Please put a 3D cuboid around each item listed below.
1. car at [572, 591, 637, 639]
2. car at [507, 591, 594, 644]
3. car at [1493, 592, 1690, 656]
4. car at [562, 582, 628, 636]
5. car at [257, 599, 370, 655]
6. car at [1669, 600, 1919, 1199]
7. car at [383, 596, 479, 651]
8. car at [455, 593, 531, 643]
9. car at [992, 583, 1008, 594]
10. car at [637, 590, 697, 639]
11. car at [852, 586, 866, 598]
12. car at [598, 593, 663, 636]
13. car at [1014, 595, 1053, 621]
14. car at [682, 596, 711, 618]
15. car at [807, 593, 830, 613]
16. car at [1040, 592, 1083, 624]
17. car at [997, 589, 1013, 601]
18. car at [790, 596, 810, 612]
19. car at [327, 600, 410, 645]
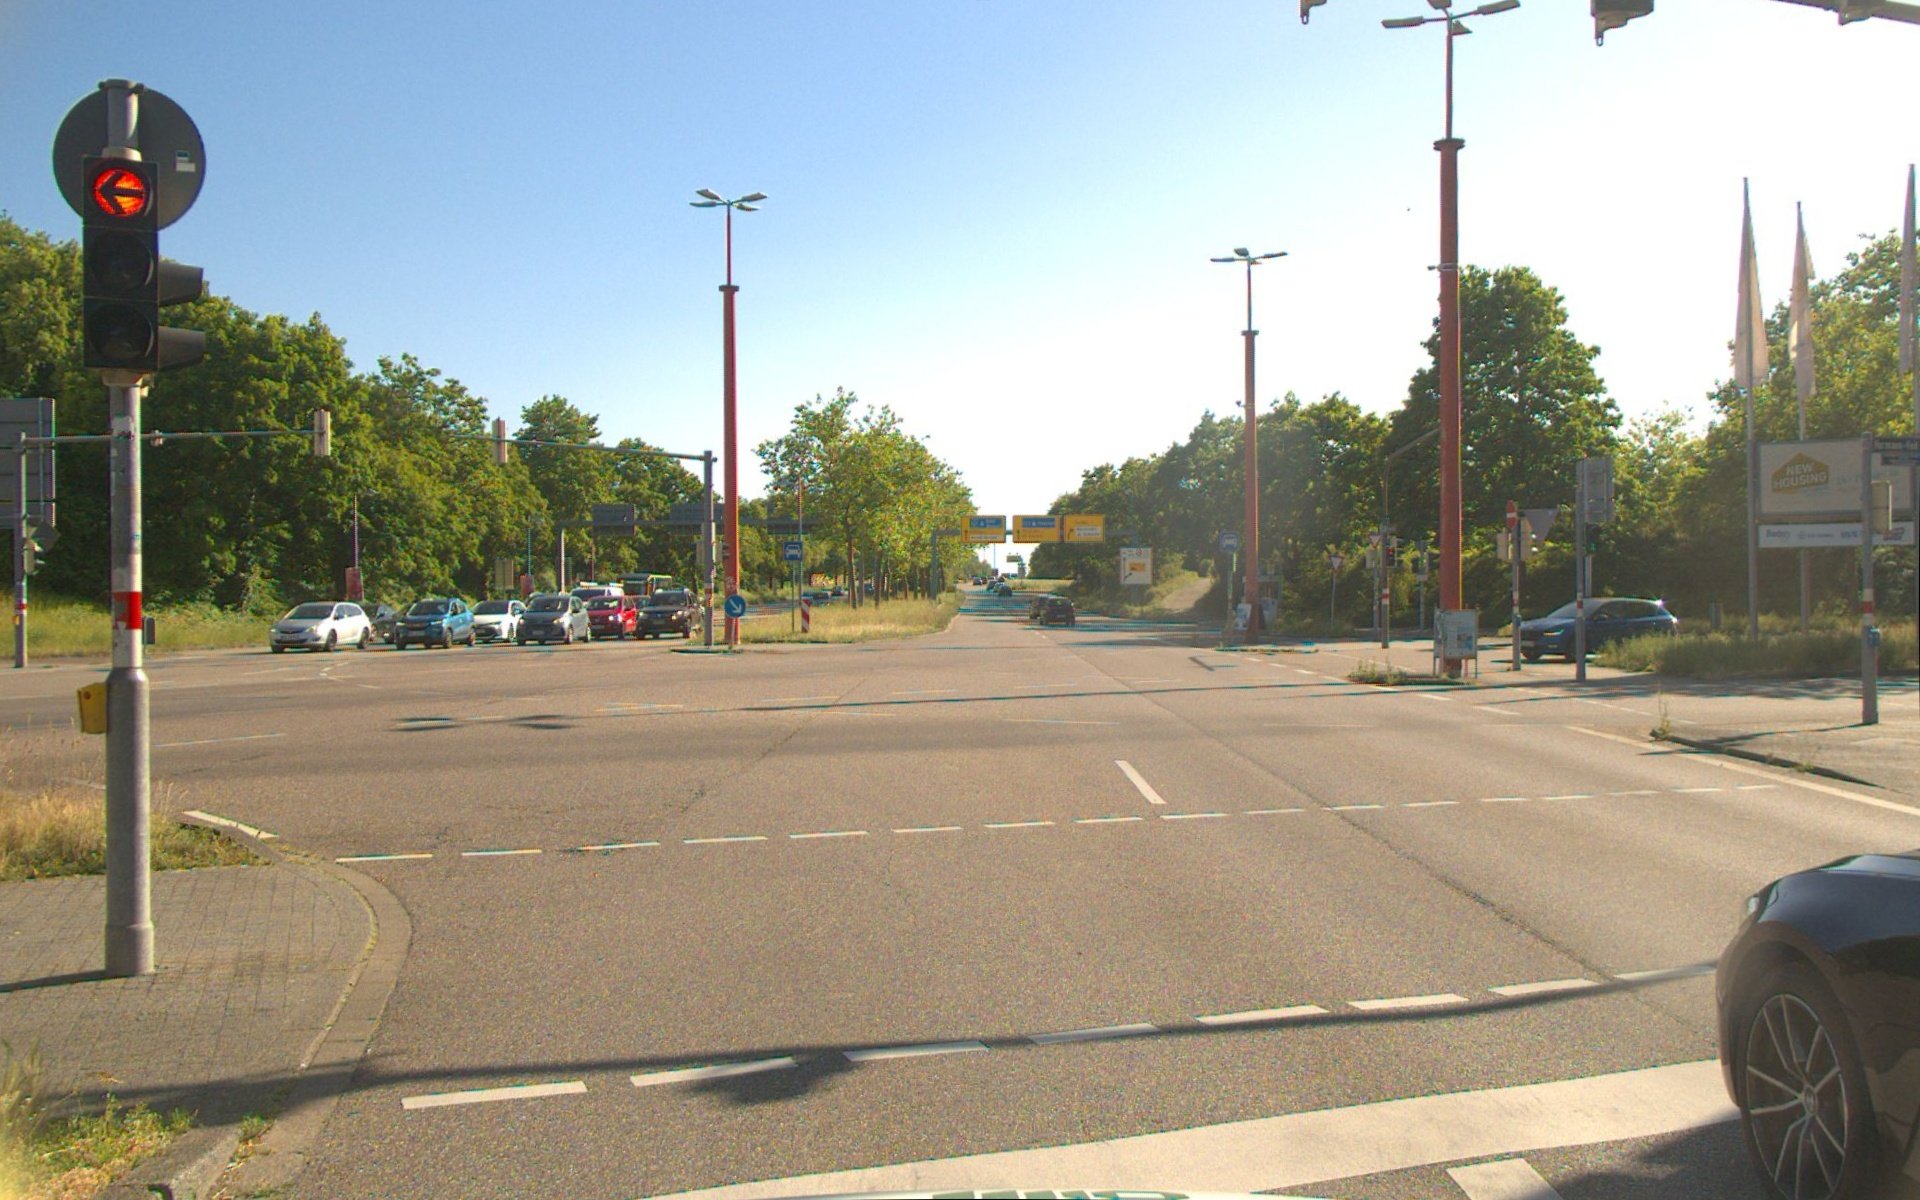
[{"bbox_3d":[-12.480,0.505,58.267,1.956,1.601,4.113,0,0,-8],"label":"car"},{"bbox_3d":[-12.806,0.519,51.960,1.954,1.601,4.118,0,0,-4],"label":"car"},{"bbox_3d":[15.125,0.553,39.636,4.202,1.453,1.874,0,0,-19],"label":"car"},{"bbox_3d":[-15.673,0.384,71.260,2.021,2.231,4.376,0,0,-3],"label":"car"},{"bbox_3d":[-19.587,0.783,50.293,1.954,1.601,4.118,0,0,-3],"label":"car"},{"bbox_3d":[2.974,0.712,2.357,1.953,1.419,4.476,0,0,-1],"label":"car"},{"bbox_3d":[-16.209,0.680,50.886,1.955,1.601,4.116,0,0,-5],"label":"car"},{"bbox_3d":[-15.992,0.595,56.780,1.956,1.601,4.113,-1,0,-8],"label":"car"},{"bbox_3d":[5.989,-1.670,246.575,2.115,1.601,4.279,0,0,-2],"label":"car"},{"bbox_3d":[-9.875,0.470,55.987,1.841,1.601,4.113,0,0,-8],"label":"car"},{"bbox_3d":[-14.056,-1.110,230.715,1.840,1.601,4.116,0,0,-5],"label":"car"},{"bbox_3d":[-12.713,0.526,64.042,1.954,1.601,4.117,0,0,-4],"label":"car"},{"bbox_3d":[4.650,0.479,105.304,2.116,1.601,4.580,0,0,-3],"label":"car"},{"bbox_3d":[-19.808,0.523,124.635,1.840,1.601,4.116,0,0,-5],"label":"car"},{"bbox_3d":[-11.702,0.226,136.714,1.840,1.601,4.116,0,0,-5],"label":"car"},{"bbox_3d":[5.321,0.410,87.019,2.114,1.601,4.282,0,0,1],"label":"car"},{"bbox_3d":[5.951,-0.646,220.774,2.114,1.601,4.281,0,0,1],"label":"car"},{"bbox_3d":[-15.640,0.379,161.599,1.840,1.601,4.116,0,0,-5],"label":"car"},{"bbox_3d":[-22.486,0.834,63.044,1.955,1.626,4.217,0,0,-5],"label":"car"}]
